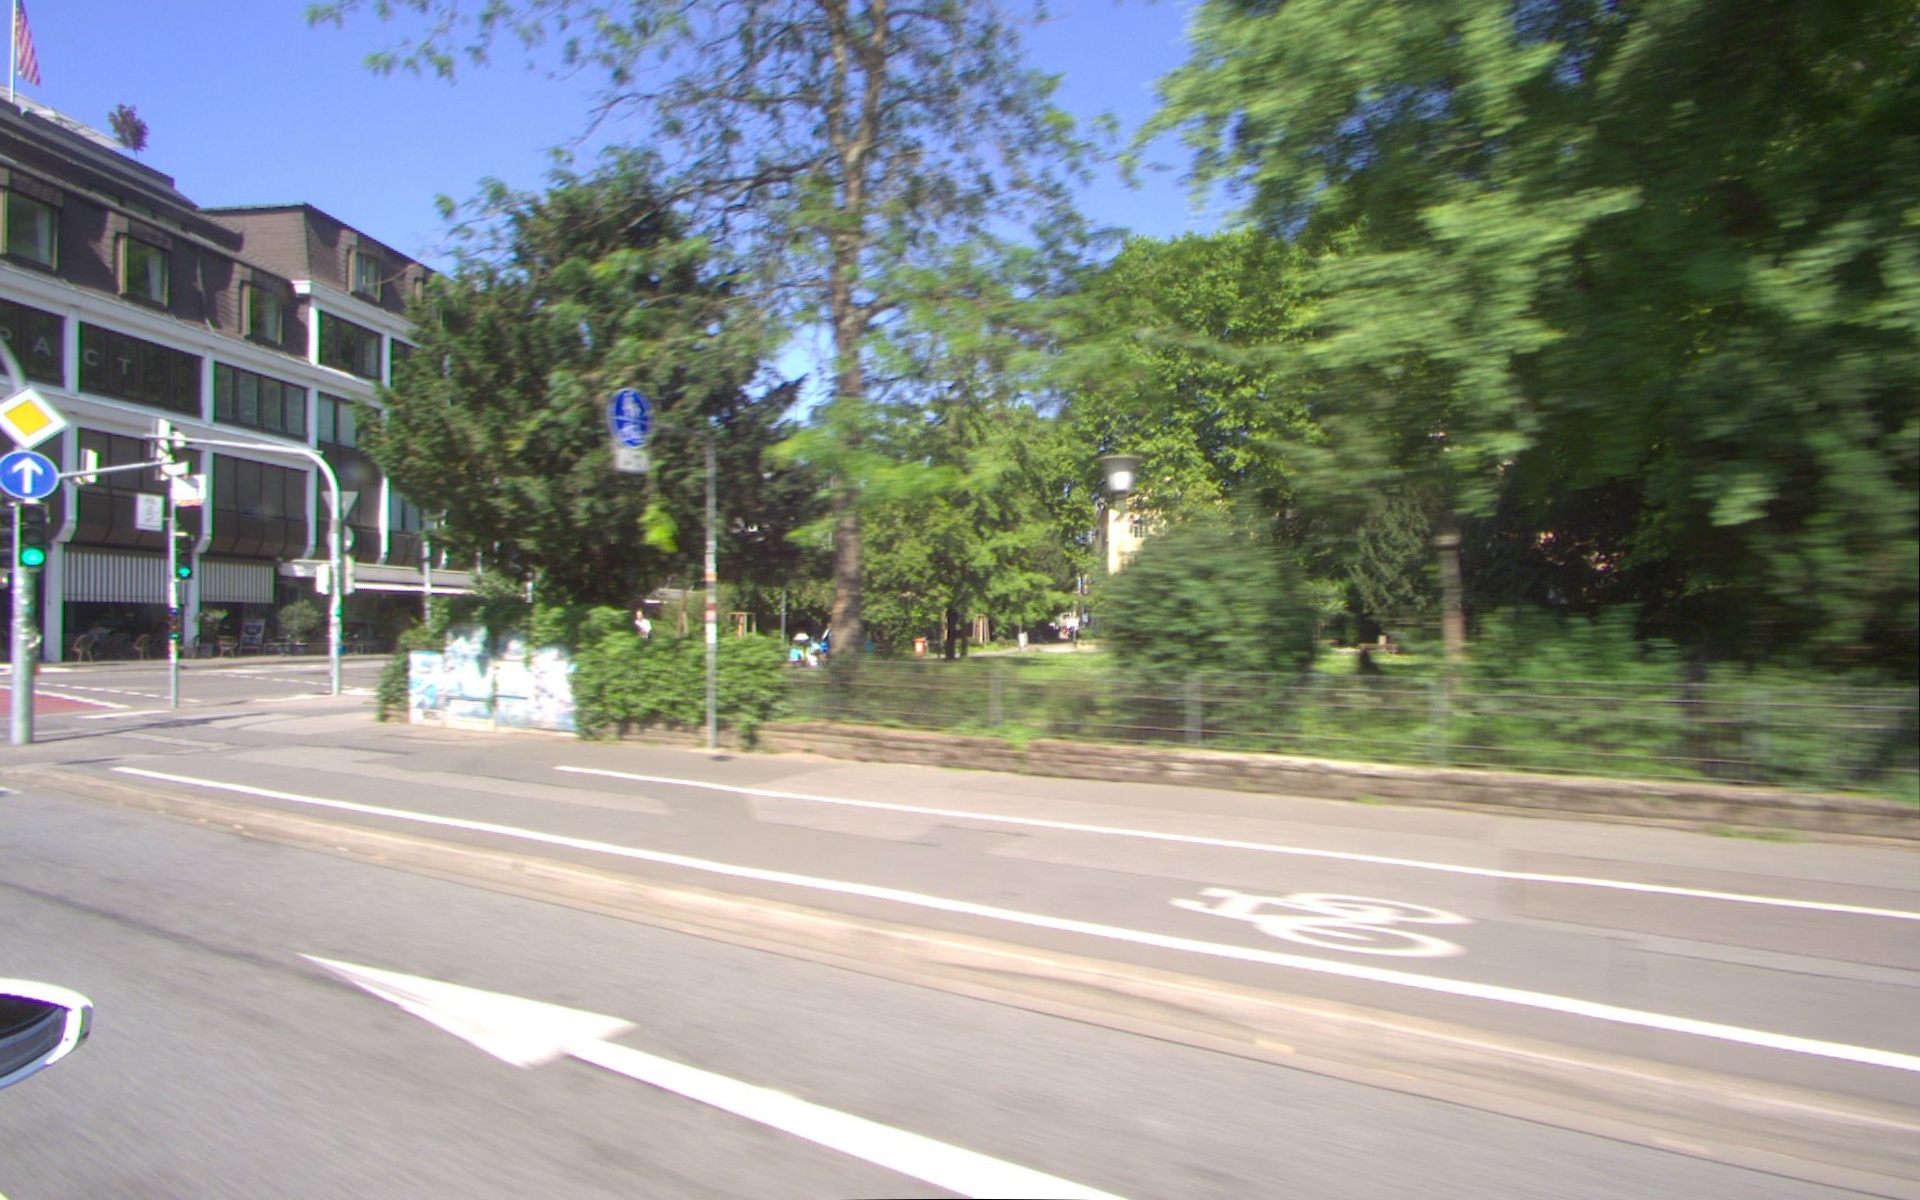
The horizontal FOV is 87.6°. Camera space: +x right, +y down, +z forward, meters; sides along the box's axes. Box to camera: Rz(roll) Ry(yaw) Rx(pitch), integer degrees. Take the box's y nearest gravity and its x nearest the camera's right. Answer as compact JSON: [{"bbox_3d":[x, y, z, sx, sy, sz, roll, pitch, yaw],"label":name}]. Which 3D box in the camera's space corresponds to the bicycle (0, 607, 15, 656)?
[{"bbox_3d":[-29.012,0.938,29.971,0.523,1.441,1.957,1,0,-28],"label":"bicycle"}]

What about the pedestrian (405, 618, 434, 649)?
[{"bbox_3d":[-24.707,1.524,45.795,0.743,1.411,0.929,1,-1,9],"label":"pedestrian"}]

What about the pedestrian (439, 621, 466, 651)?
[{"bbox_3d":[-24.242,1.726,47.844,0.743,1.411,0.929,1,-1,9],"label":"pedestrian"}]

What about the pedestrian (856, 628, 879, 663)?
[{"bbox_3d":[-3.397,1.669,36.779,0.703,1.286,0.452,0,-1,22],"label":"pedestrian"}]

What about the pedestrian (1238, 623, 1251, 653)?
[{"bbox_3d":[16.725,2.239,58.928,0.677,1.705,0.661,0,-1,21],"label":"pedestrian"}]

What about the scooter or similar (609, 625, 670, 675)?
[{"bbox_3d":[-8.731,1.349,27.366,0.806,1.315,1.694,-1,-1,15],"label":"scooter or similar"}]

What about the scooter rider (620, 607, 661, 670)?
[{"bbox_3d":[-8.728,1.060,27.361,0.808,1.693,0.709,-1,0,15],"label":"scooter rider"}]

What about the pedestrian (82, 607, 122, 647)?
[{"bbox_3d":[-29.791,0.923,34.778,0.816,1.352,0.968,1,-1,-26],"label":"pedestrian"}]

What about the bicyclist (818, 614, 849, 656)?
[{"bbox_3d":[-4.854,1.324,38.465,0.853,1.595,0.941,-1,-1,24],"label":"bicyclist"}]

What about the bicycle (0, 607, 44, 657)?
[{"bbox_3d":[-28.680,0.950,30.595,0.523,1.441,1.957,1,0,-28],"label":"bicycle"}]
